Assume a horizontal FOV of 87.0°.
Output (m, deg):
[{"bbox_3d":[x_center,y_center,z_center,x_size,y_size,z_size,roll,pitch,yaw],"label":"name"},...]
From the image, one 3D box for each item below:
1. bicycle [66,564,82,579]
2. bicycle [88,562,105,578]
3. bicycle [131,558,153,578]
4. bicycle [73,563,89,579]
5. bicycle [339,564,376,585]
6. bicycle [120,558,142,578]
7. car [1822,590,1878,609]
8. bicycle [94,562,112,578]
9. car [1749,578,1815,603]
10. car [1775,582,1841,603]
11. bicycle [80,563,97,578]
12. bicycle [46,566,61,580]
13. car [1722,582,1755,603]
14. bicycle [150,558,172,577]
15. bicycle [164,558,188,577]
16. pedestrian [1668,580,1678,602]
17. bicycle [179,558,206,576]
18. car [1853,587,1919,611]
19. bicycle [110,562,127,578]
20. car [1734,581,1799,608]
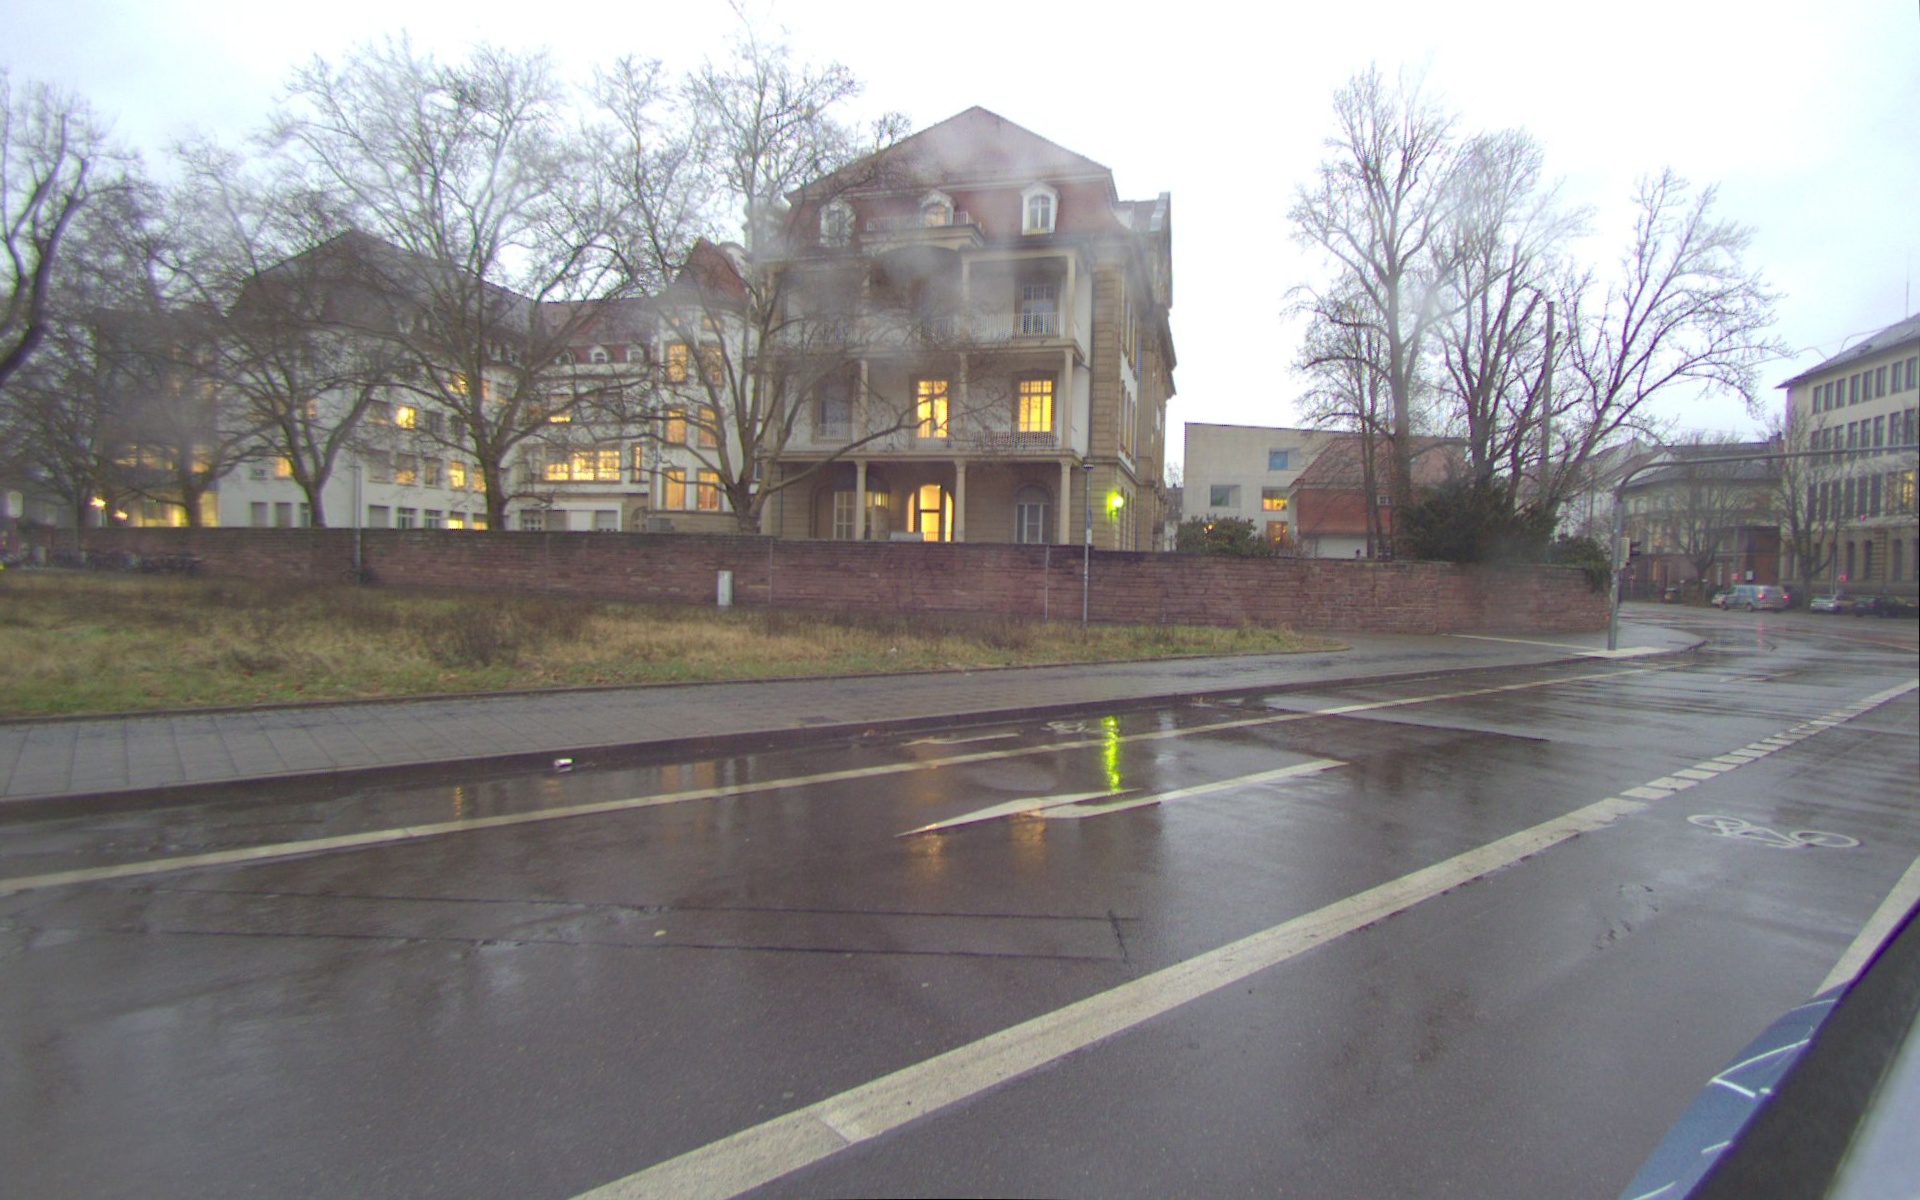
[{"bbox_3d":[-47.895,-1.534,54.678,1.522,0.796,0.389,0,0,38],"label":"bicycle"},{"bbox_3d":[-44.177,-1.526,51.772,1.522,0.796,0.389,0,0,38],"label":"bicycle"},{"bbox_3d":[-38.625,-1.504,47.772,1.519,0.869,0.389,0,0,33],"label":"bicycle"},{"bbox_3d":[-46.671,-1.532,53.723,1.522,0.796,0.389,0,0,38],"label":"bicycle"},{"bbox_3d":[-23.383,-0.985,39.276,1.366,0.835,0.392,0,0,14],"label":"bicycle"},{"bbox_3d":[-39.907,-1.536,48.726,1.519,0.928,0.389,0,0,33],"label":"bicycle"},{"bbox_3d":[63.602,-0.075,72.310,3.568,1.322,1.712,-1,0,-25],"label":"car"},{"bbox_3d":[-43.130,-1.492,50.901,1.522,0.796,0.389,0,0,38],"label":"bicycle"},{"bbox_3d":[64.981,-0.784,80.033,3.916,1.924,2.052,0,0,-13],"label":"car"},{"bbox_3d":[64.699,-0.578,77.235,3.916,1.570,1.805,0,0,-13],"label":"car"},{"bbox_3d":[-45.441,-1.529,52.745,1.522,0.796,0.389,0,0,38],"label":"bicycle"},{"bbox_3d":[-51.608,-1.543,57.596,1.522,0.796,0.389,0,0,38],"label":"bicycle"},{"bbox_3d":[66.480,-0.636,86.397,1.992,1.690,3.940,0,0,42],"label":"car"},{"bbox_3d":[-37.029,-1.494,46.890,1.480,0.849,0.346,0,0,32],"label":"bicycle"},{"bbox_3d":[-35.549,-1.465,45.864,1.519,0.796,0.389,0,0,33],"label":"bicycle"},{"bbox_3d":[68.012,-0.884,96.580,0.539,2.038,0.473,2,2,12],"label":"pedestrian"},{"bbox_3d":[-34.209,-1.465,45.115,1.399,0.796,0.355,0,0,26],"label":"bicycle"},{"bbox_3d":[61.963,-0.054,67.015,3.927,1.570,1.800,0,0,4],"label":"car"},{"bbox_3d":[-41.473,-1.473,49.880,1.599,0.796,0.388,0,0,41],"label":"bicycle"},{"bbox_3d":[58.370,-0.421,73.348,1.852,1.868,3.991,0,0,8],"label":"car"}]
